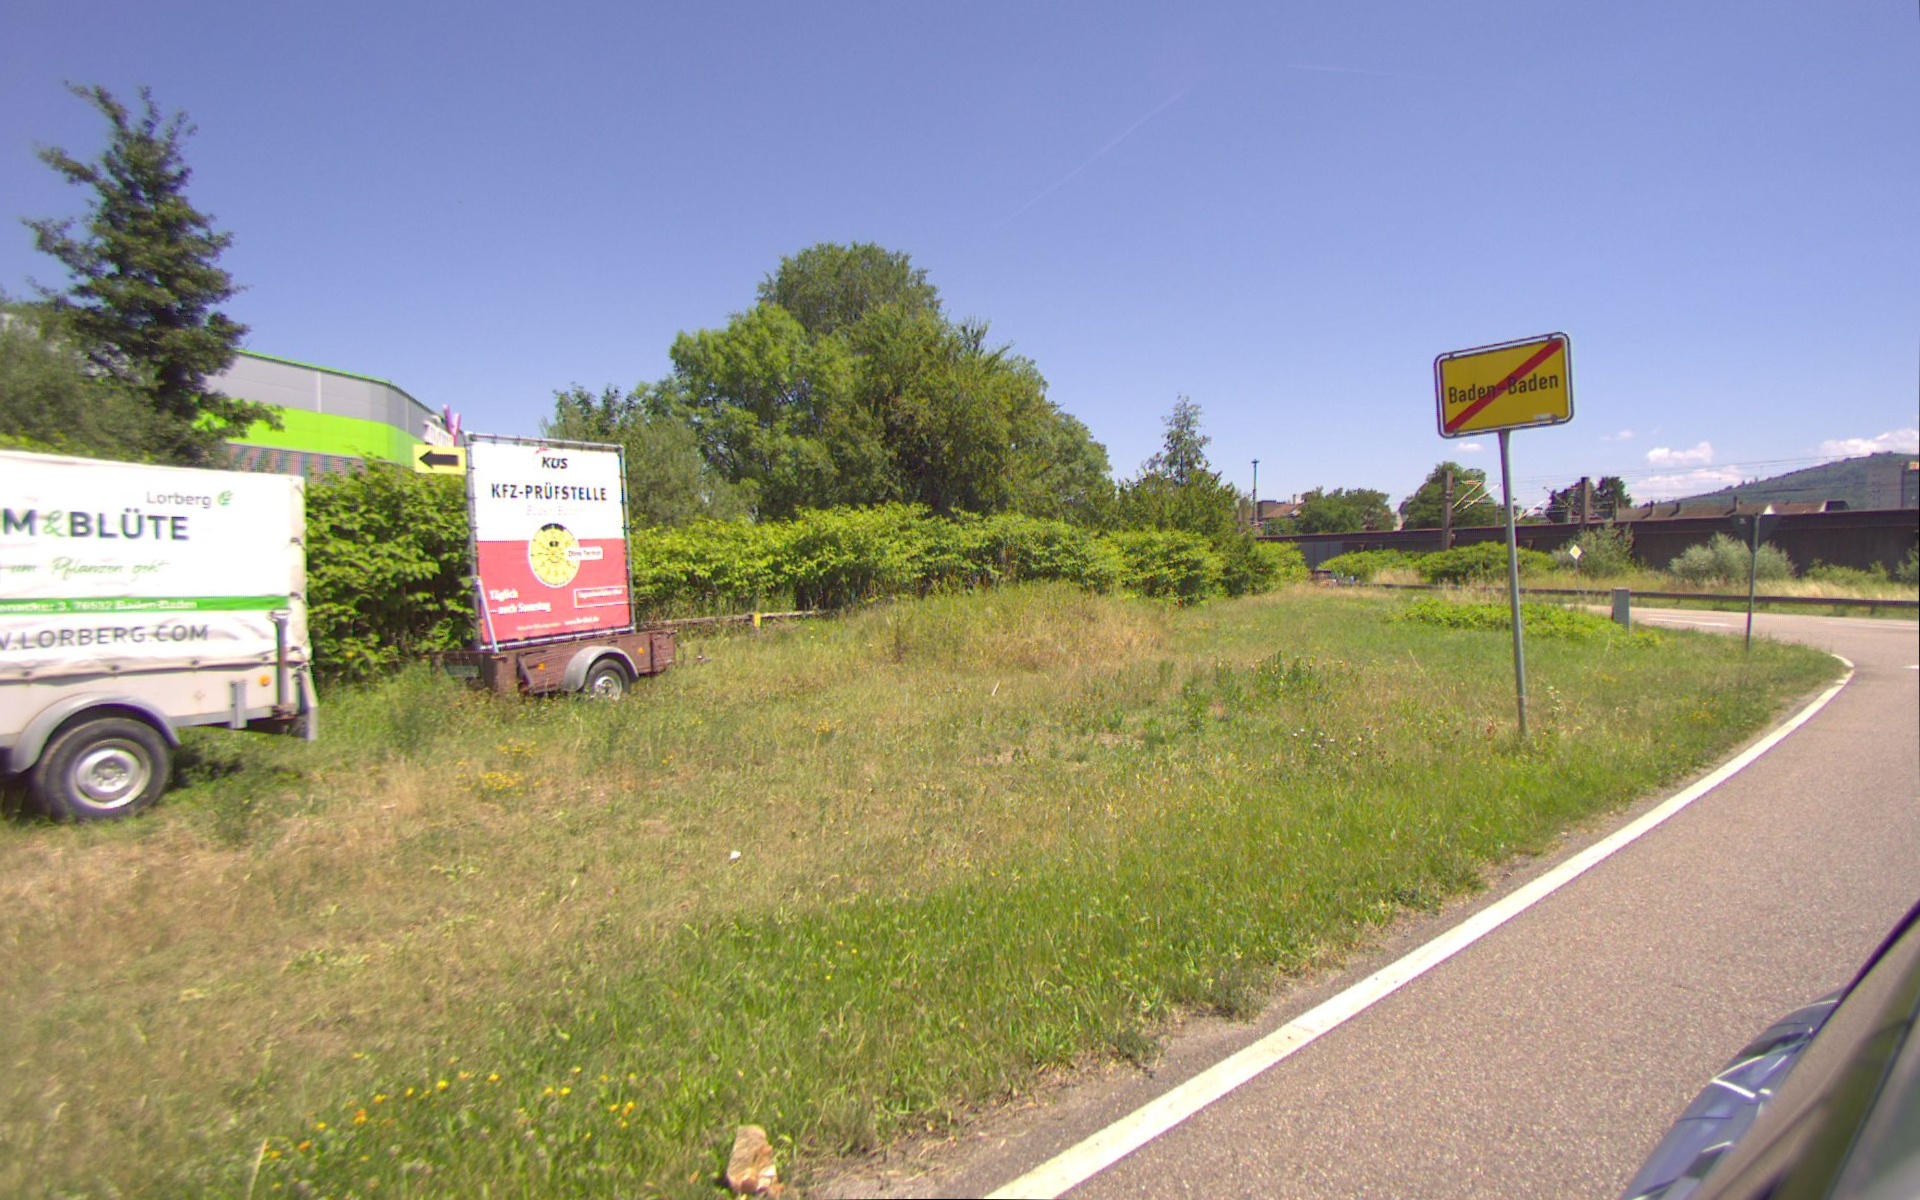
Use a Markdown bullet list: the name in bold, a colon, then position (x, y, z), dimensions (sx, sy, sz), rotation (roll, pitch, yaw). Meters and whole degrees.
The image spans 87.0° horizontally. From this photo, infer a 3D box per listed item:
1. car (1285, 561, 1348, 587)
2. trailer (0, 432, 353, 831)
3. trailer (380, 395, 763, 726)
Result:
- **car**: position (24.603, -1.856, 70.039), dimensions (1.669, 1.647, 4.635), rotation (1, 2, -17)
- **trailer**: position (-5.917, 0.167, 5.674), dimensions (1.834, 2.103, 3.933), rotation (0, 2, 27)
- **trailer**: position (-3.682, -0.377, 10.079), dimensions (1.834, 2.703, 3.118), rotation (0, 2, 27)
